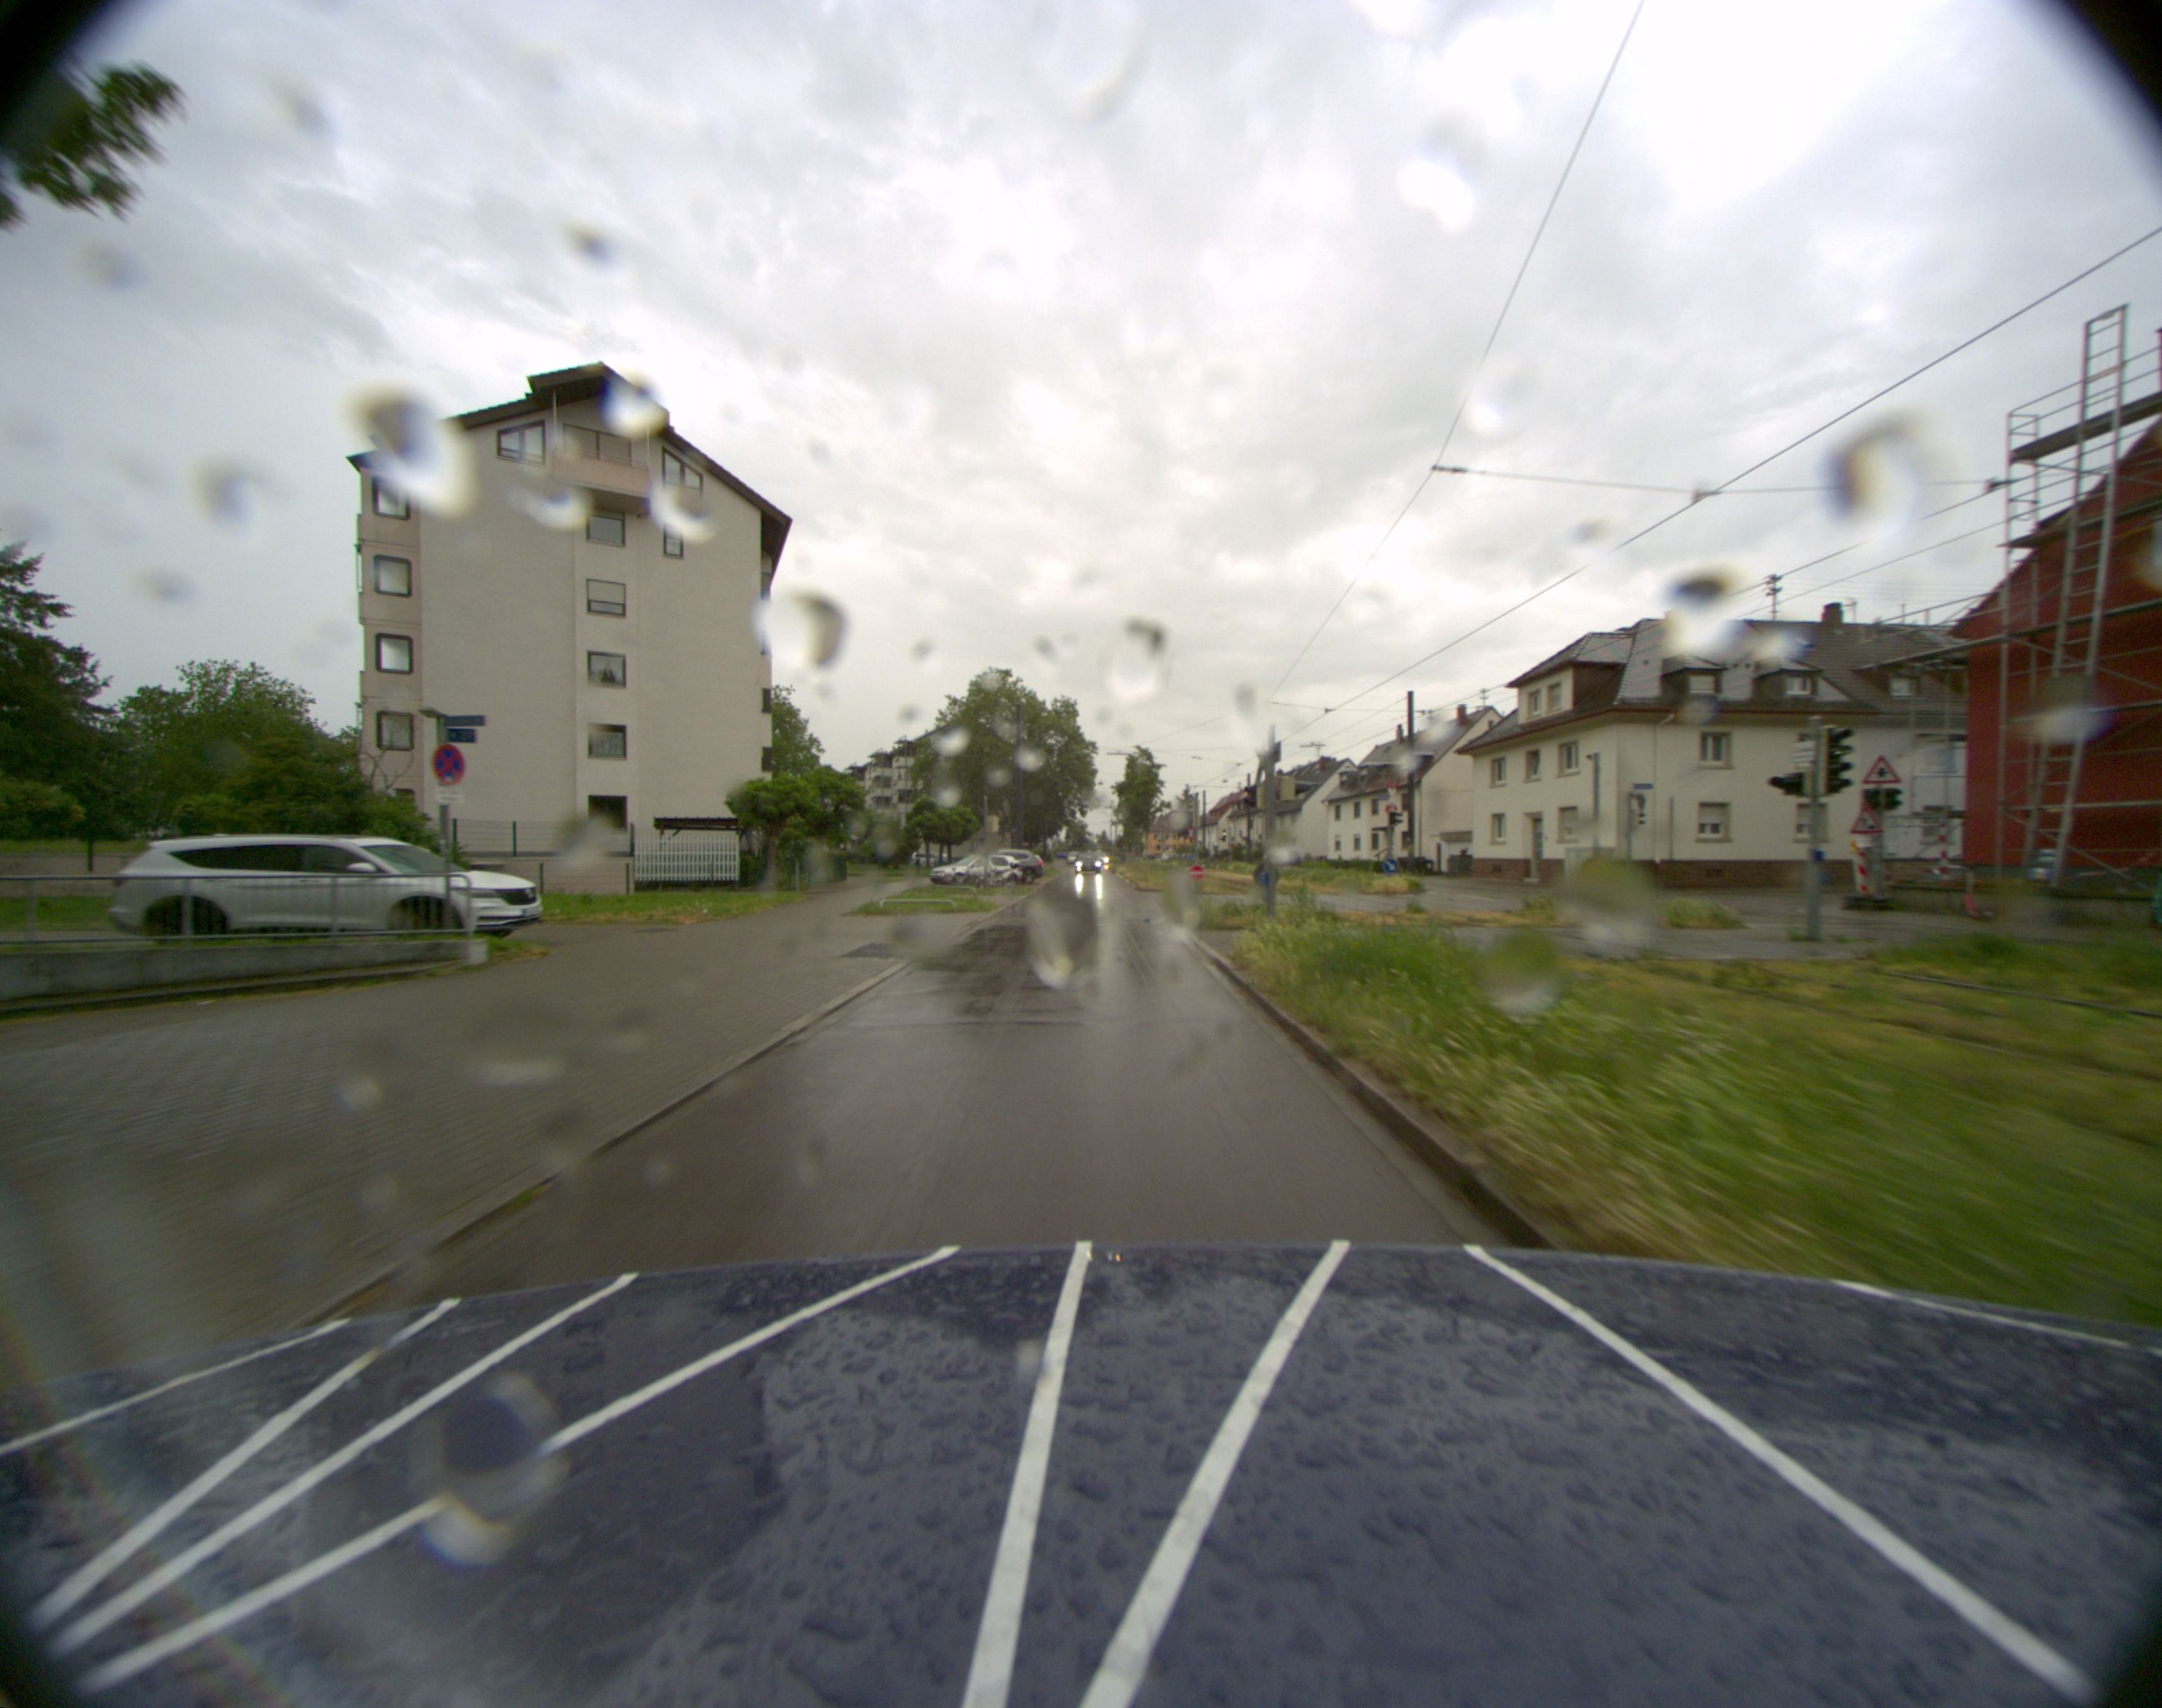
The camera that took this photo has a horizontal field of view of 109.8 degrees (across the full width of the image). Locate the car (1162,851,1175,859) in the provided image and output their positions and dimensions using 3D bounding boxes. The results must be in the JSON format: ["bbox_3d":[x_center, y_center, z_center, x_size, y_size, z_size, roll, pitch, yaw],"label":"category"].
[{"bbox_3d":[15.866,0.102,138.397,1.715,1.432,3.999,1,0,-2],"label":"car"}]

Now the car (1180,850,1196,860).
[{"bbox_3d":[16.168,0.160,114.630,1.777,1.418,3.937,1,0,-1],"label":"car"}]

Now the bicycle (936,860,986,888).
[{"bbox_3d":[-4.789,0.801,30.487,1.961,1.095,0.627,1,0,-45],"label":"bicycle"}]

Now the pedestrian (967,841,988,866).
[{"bbox_3d":[-7.677,-0.053,56.395,1.101,1.803,1.435,0,1,11],"label":"pedestrian"}]

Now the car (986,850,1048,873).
[{"bbox_3d":[-4.418,0.513,52.737,4.008,1.500,1.700,0,3,-38],"label":"car"}]

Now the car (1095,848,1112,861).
[{"bbox_3d":[2.676,0.080,90.706,1.854,1.500,4.119,1,0,-2],"label":"car"}]

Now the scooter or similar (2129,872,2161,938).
[{"bbox_3d":[19.522,0.923,13.470,0.394,1.173,1.284,0,1,17],"label":"scooter or similar"}]

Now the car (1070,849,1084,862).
[{"bbox_3d":[-0.532,0.160,93.907,1.562,1.510,3.999,1,0,-1],"label":"car"}]

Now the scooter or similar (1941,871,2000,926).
[{"bbox_3d":[19.387,0.942,16.577,0.440,1.123,1.285,1,1,32],"label":"scooter or similar"}]

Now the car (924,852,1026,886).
[{"bbox_3d":[-4.658,0.639,33.759,4.133,1.414,1.734,1,0,-35],"label":"car"}]

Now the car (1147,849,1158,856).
[{"bbox_3d":[15.545,-0.297,166.099,1.912,1.581,3.999,1,1,-1],"label":"car"}]

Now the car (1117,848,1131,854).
[{"bbox_3d":[13.214,-0.889,231.203,3.998,1.638,1.893,1,1,-4],"label":"car"}]

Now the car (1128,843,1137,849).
[{"bbox_3d":[14.474,-2.211,212.624,2.096,1.423,4.076,1,0,-2],"label":"car"}]

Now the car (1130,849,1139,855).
[{"bbox_3d":[14.422,-0.557,203.911,1.885,1.423,4.076,1,0,-2],"label":"car"}]

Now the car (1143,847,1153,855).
[{"bbox_3d":[15.849,-0.698,179.682,1.998,1.648,4.000,-1,1,1],"label":"car"}]

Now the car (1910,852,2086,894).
[{"bbox_3d":[32.343,0.635,26.880,4.364,1.393,1.841,0,1,-6],"label":"car"}]

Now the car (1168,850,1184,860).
[{"bbox_3d":[15.911,0.115,127.216,1.892,1.523,4.755,1,0,-2],"label":"car"}]

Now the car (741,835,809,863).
[{"bbox_3d":[-31.524,-0.495,78.291,6.133,2.763,2.187,0,1,3],"label":"car"}]

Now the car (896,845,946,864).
[{"bbox_3d":[-15.208,0.044,72.432,4.303,1.671,1.871,1,1,2],"label":"car"}]

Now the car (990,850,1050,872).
[{"bbox_3d":[-4.496,0.517,56.053,4.008,1.500,1.779,0,3,-35],"label":"car"}]

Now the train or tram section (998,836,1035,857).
[{"bbox_3d":[-10.784,-1.287,126.669,2.763,3.320,6.381,0,1,-44],"label":"train or tram section"}]

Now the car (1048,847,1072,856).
[{"bbox_3d":[-3.802,-0.469,135.390,4.007,1.518,1.715,0,1,-33],"label":"car"}]

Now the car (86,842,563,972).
[{"bbox_3d":[-11.111,0.696,11.645,4.820,1.735,1.997,0,1,-13],"label":"car"}]

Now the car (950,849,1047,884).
[{"bbox_3d":[-4.024,0.588,37.388,4.357,1.641,1.853,0,1,-32],"label":"car"}]

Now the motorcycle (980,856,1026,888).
[{"bbox_3d":[-3.253,0.751,31.760,1.783,1.329,0.687,1,0,-35],"label":"motorcycle"}]
